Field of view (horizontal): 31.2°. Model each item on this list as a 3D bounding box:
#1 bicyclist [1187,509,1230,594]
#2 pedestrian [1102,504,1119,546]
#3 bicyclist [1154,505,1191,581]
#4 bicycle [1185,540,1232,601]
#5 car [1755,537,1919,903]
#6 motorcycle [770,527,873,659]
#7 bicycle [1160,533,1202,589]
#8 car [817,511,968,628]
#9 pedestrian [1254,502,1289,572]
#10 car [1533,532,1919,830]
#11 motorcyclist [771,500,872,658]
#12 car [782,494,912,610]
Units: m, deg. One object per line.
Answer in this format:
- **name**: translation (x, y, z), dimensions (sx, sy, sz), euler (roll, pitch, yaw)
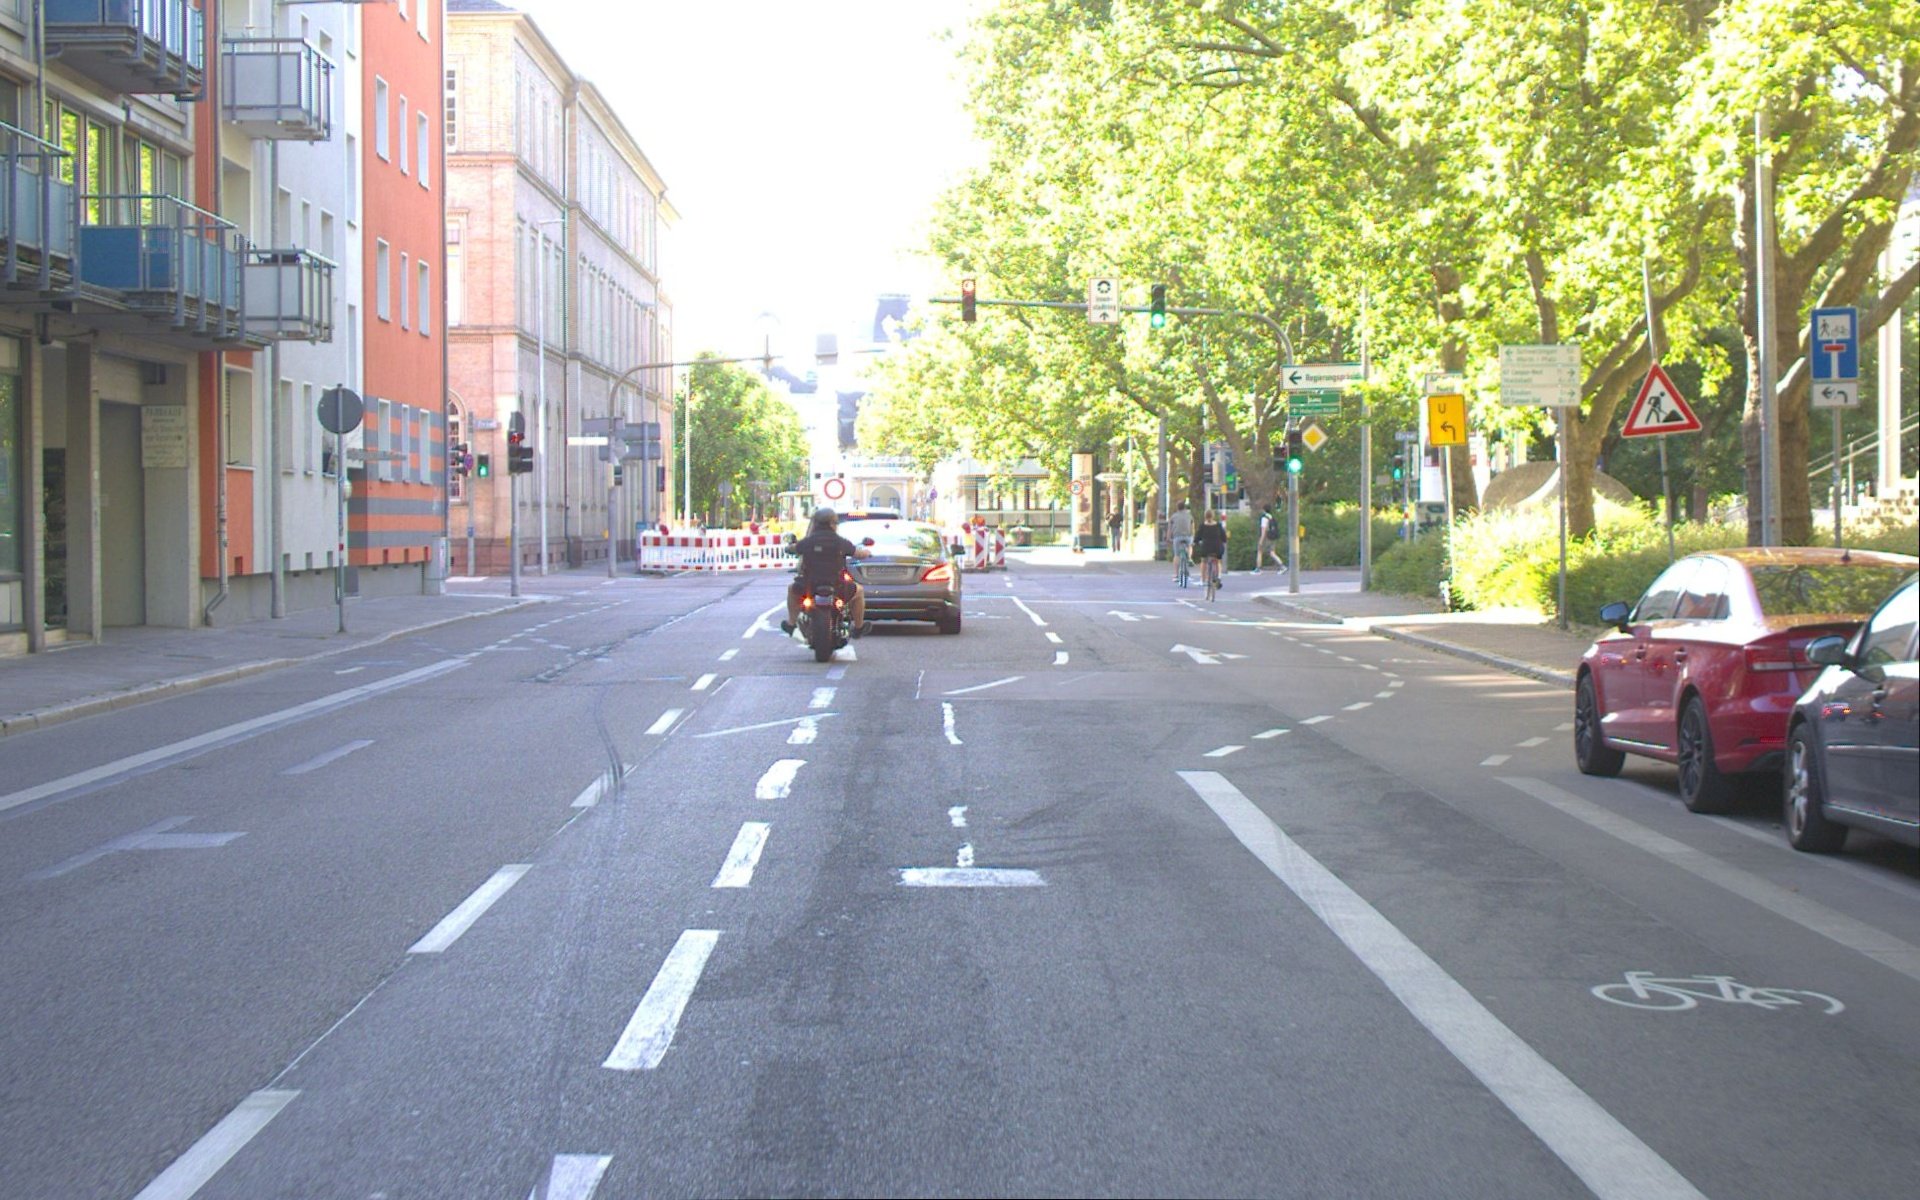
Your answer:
- **bicyclist**: translation (4.479, -0.879, 62.081), dimensions (0.656, 1.525, 0.852), euler (1, 1, -1)
- **pedestrian**: translation (5.685, -2.842, 129.908), dimensions (0.592, 1.573, 0.527), euler (1, 1, -1)
- **bicyclist**: translation (4.370, -1.172, 70.731), dimensions (0.656, 1.525, 0.906), euler (1, 1, -1)
- **bicycle**: translation (4.484, -0.546, 62.135), dimensions (0.656, 1.066, 1.927), euler (1, 1, -1)
- **car**: translation (4.754, 0.501, 14.781), dimensions (1.693, 1.461, 4.066), euler (2, 1, 0)
- **motorcycle**: translation (-1.418, -0.101, 35.713), dimensions (1.012, 1.302, 2.673), euler (0, 2, -1)
- **bicycle**: translation (4.540, -0.810, 70.685), dimensions (0.656, 1.107, 2.186), euler (1, 1, -1)
- **car**: translation (-0.867, -0.421, 43.832), dimensions (1.828, 1.415, 3.815), euler (0, 2, -1)
- **pedestrian**: translation (7.949, -1.598, 87.790), dimensions (0.570, 1.768, 0.625), euler (1, 1, -38)
- **car**: translation (4.612, 0.378, 19.582), dimensions (1.692, 1.444, 4.437), euler (2, 1, -3)
- **motorcyclist**: translation (-1.432, -0.232, 35.716), dimensions (1.012, 1.596, 1.406), euler (0, 1, -1)
- **car**: translation (-1.739, -0.740, 51.932), dimensions (1.630, 1.645, 3.851), euler (1, 1, -6)
